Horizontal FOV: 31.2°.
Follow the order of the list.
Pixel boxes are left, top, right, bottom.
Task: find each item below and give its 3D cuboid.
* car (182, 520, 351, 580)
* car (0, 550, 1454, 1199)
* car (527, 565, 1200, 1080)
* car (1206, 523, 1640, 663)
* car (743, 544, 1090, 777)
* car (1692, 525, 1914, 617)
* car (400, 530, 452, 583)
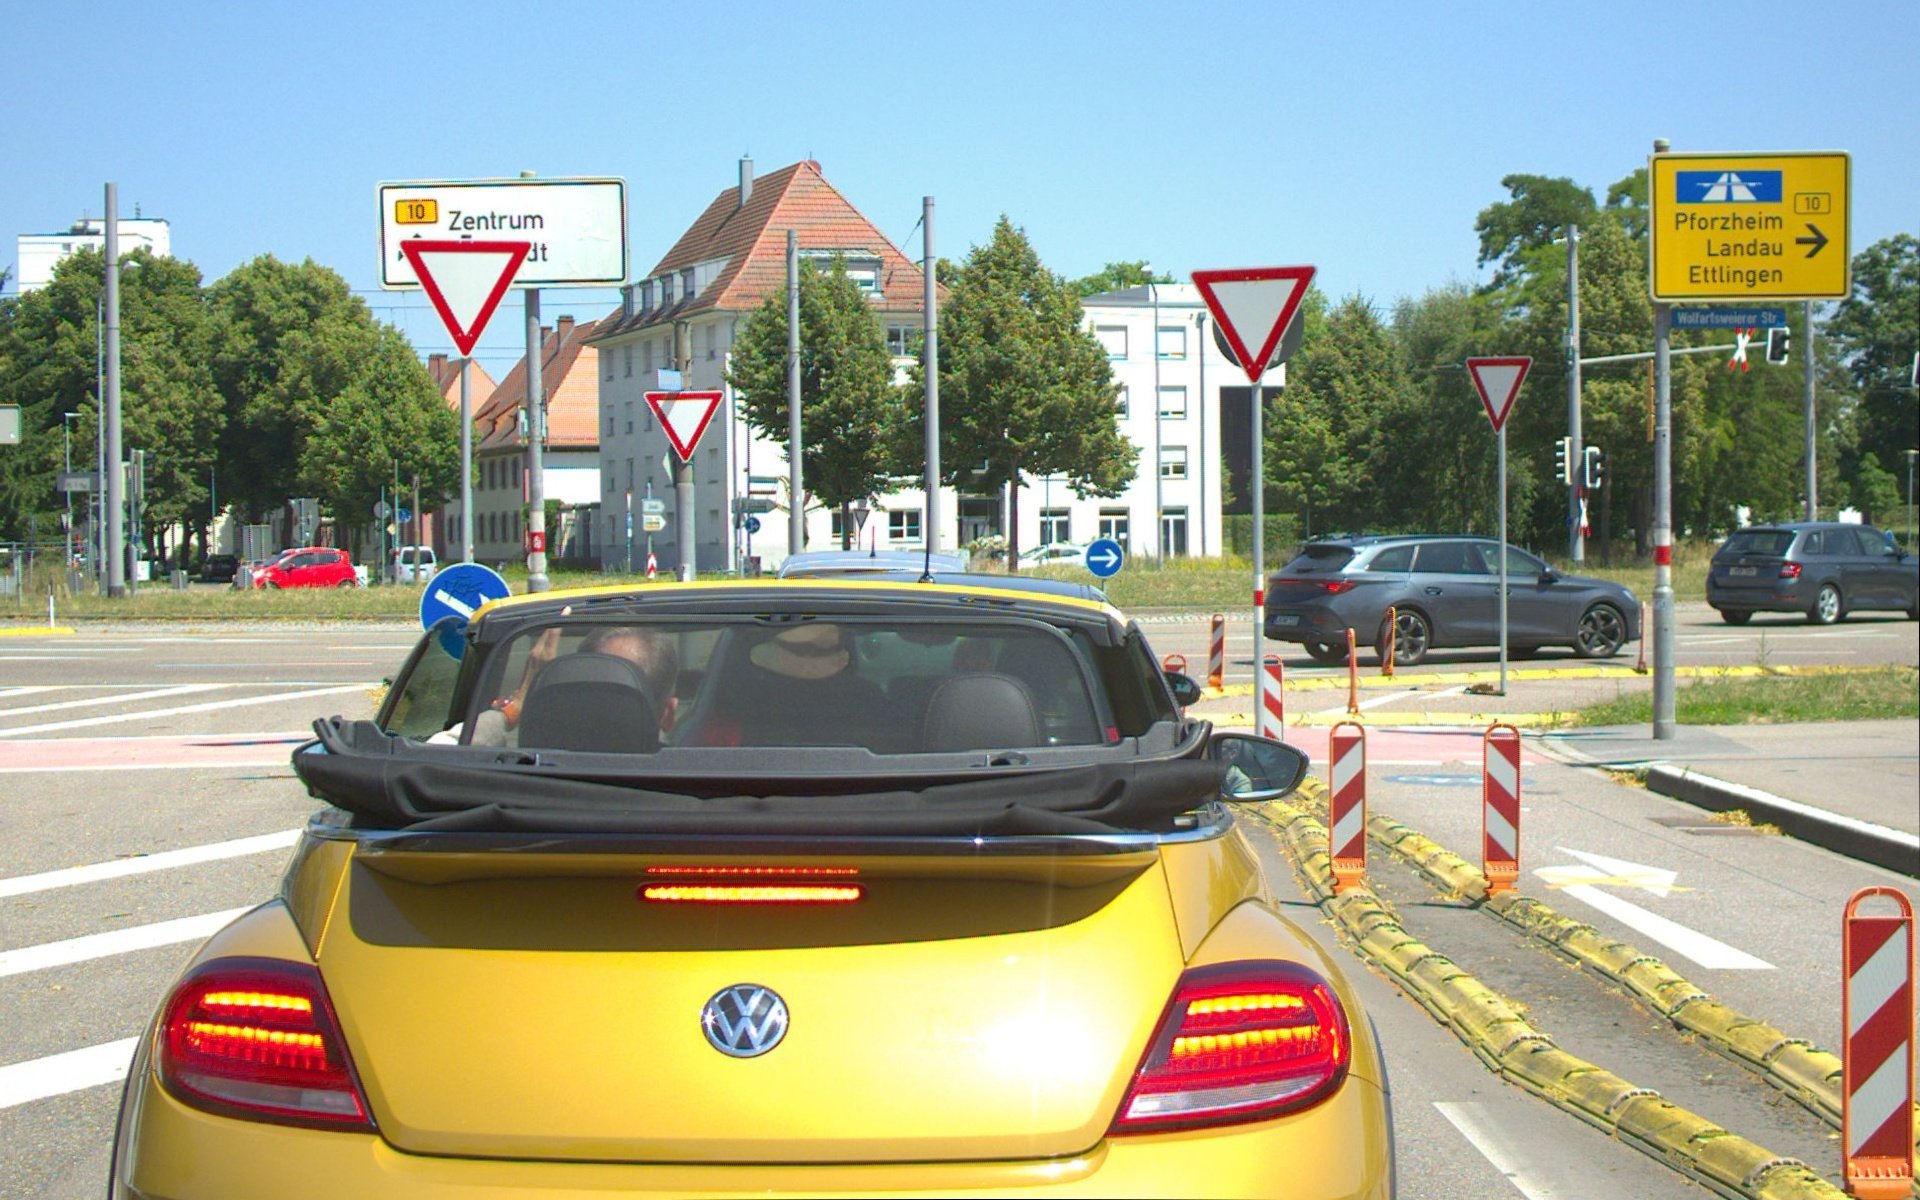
[{"bbox_3d":[-19.869,-1.420,98.519,4.332,1.648,1.901,0,1,-32],"label":"car"},{"bbox_3d":[-0.334,0.669,6.185,1.765,1.476,4.258,1,1,-1],"label":"car"},{"bbox_3d":[-0.290,0.598,11.685,1.851,1.361,4.258,-1,1,-1],"label":"car"},{"bbox_3d":[5.307,-0.112,39.369,4.527,1.476,2.072,-1,1,-26],"label":"car"},{"bbox_3d":[-0.354,0.342,22.756,2.065,1.377,4.258,1,1,-3],"label":"car"},{"bbox_3d":[11.871,-0.397,48.327,3.208,1.254,1.438,0,1,-41],"label":"car"},{"bbox_3d":[-21.328,-1.732,137.453,1.987,2.063,5.330,1,1,-8],"label":"car"}]
